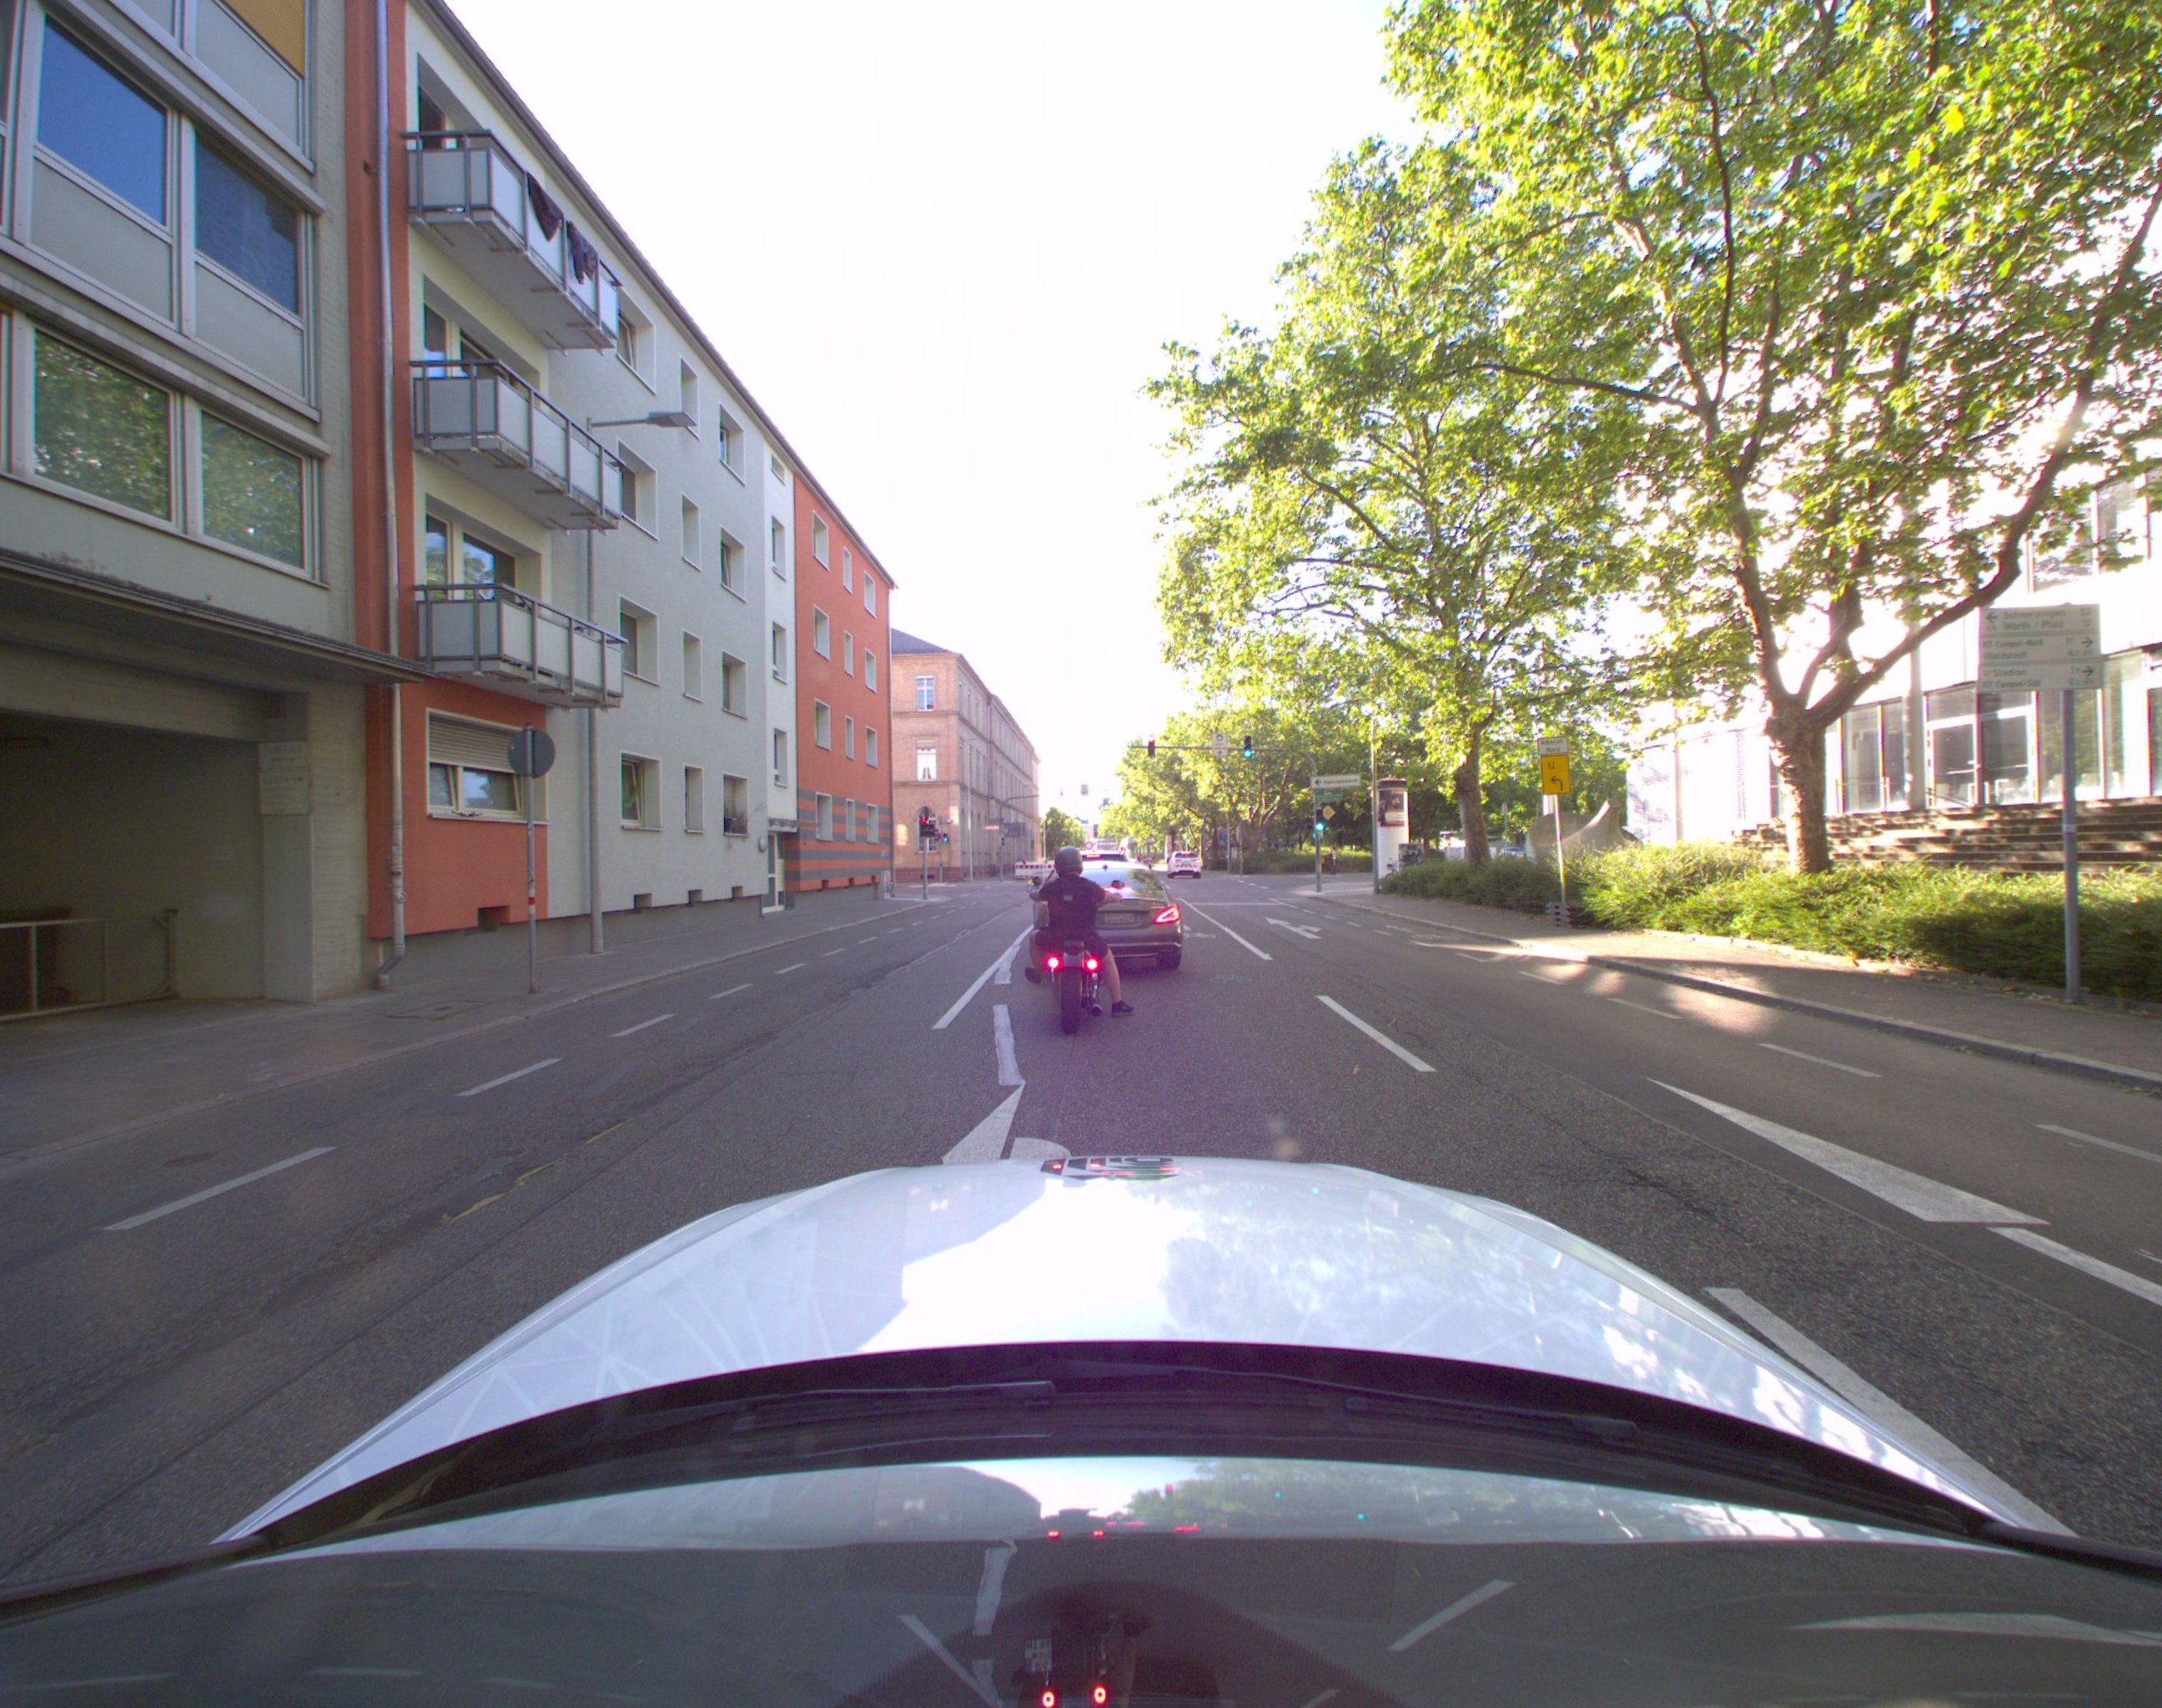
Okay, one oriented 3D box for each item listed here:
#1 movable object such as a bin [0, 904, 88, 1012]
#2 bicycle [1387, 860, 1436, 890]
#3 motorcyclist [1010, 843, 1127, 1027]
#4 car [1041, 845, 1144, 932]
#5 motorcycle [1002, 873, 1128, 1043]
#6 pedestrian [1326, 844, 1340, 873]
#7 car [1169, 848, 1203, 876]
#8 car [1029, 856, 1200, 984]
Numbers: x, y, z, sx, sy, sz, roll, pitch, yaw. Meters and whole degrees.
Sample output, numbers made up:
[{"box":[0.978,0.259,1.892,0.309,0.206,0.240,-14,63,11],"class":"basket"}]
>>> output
[{"box":[-11.291,1.089,8.653,0.639,1.065,0.675,-1,0,1],"class":"movable object such as a bin"},{"box":[11.077,0.711,27.329,1.475,0.980,0.300,0,-1,7],"class":"bicycle"},{"box":[-0.089,0.702,7.685,0.977,1.578,1.249,-1,0,1],"class":"motorcyclist"},{"box":[0.287,0.680,17.679,1.986,1.665,4.001,0,-1,2],"class":"car"},{"box":[-0.088,0.855,7.690,0.977,1.275,2.408,-1,0,2],"class":"motorcycle"},{"box":[15.574,0.307,50.316,0.671,1.772,0.621,-1,-1,31],"class":"pedestrian"},{"box":[6.541,0.459,51.273,1.934,1.708,4.489,0,0,5],"class":"car"},{"box":[0.262,0.771,11.751,1.867,1.444,4.421,-1,0,-6],"class":"car"}]
